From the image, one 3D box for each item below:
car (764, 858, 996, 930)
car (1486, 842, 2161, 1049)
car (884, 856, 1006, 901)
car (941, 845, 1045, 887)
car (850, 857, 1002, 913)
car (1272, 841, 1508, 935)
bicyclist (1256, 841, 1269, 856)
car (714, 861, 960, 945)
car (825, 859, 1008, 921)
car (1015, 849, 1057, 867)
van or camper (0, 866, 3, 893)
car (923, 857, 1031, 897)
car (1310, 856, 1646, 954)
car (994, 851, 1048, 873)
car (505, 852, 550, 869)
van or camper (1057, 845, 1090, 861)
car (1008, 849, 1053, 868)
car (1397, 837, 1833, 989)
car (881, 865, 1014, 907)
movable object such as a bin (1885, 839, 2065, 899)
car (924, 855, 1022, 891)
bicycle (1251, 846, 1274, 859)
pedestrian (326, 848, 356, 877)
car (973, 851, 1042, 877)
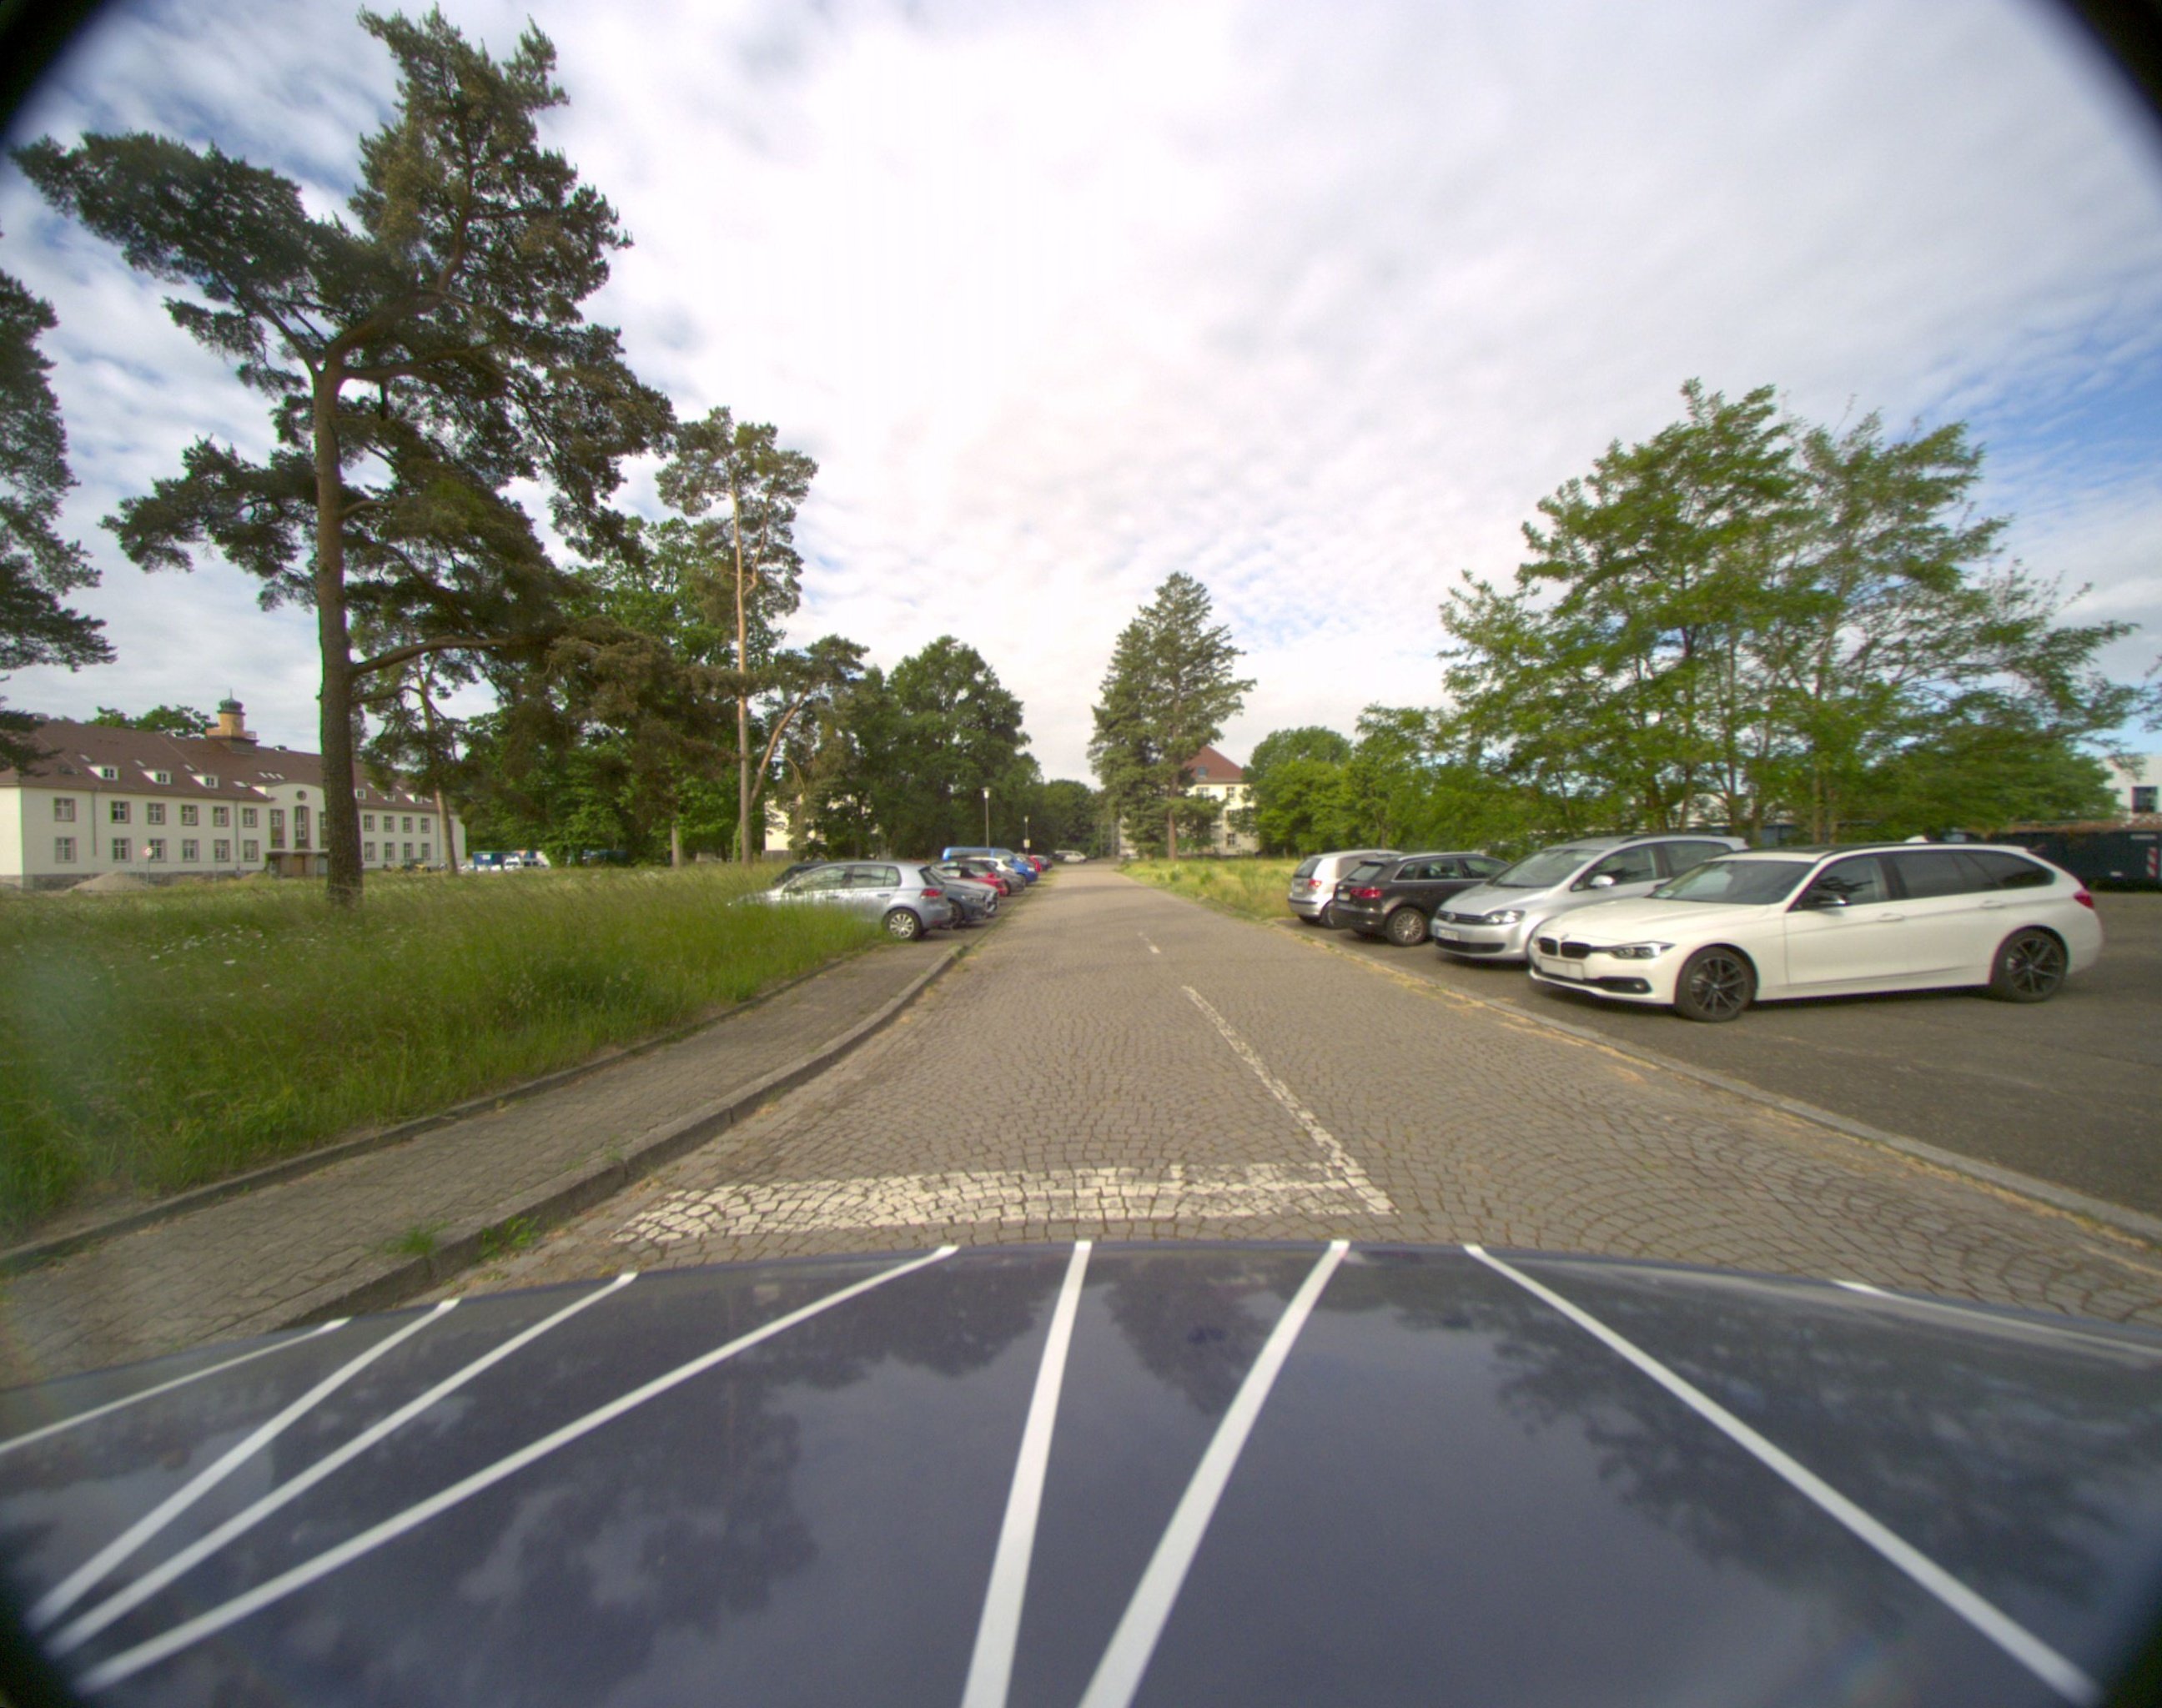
[{"bbox_3d":[-4.324,0.840,16.849,4.630,1.437,1.796,-1,1,0],"label":"car"},{"bbox_3d":[6.831,0.745,7.327,4.819,1.431,1.913,-3,1,-3],"label":"car"},{"bbox_3d":[-4.761,0.843,26.981,3.932,1.467,1.796,-1,1,1],"label":"car"},{"bbox_3d":[-4.324,0.562,37.955,4.839,2.002,2.000,-1,1,4],"label":"car"},{"bbox_3d":[-4.376,0.860,21.890,3.932,1.504,1.797,-1,1,2],"label":"car"},{"bbox_3d":[6.122,0.634,15.289,3.985,1.448,1.680,-5,1,-5],"label":"car"},{"bbox_3d":[22.567,-0.645,94.498,1.318,1.857,1.250,-1,1,5],"label":"bicyclist"},{"bbox_3d":[-4.437,0.876,14.256,3.997,1.410,1.796,-1,1,1],"label":"car"},{"bbox_3d":[-4.147,0.897,19.572,4.266,1.437,1.797,-1,1,2],"label":"car"},{"bbox_3d":[-4.274,0.339,71.972,3.791,1.615,2.000,-1,1,1],"label":"car"},{"bbox_3d":[-95.113,2.208,63.527,6.124,2.293,2.464,-1,1,-3],"label":"van or camper"},{"bbox_3d":[-4.005,0.873,29.677,3.933,1.427,1.796,-1,1,0],"label":"car"},{"bbox_3d":[6.419,0.787,12.628,4.633,1.414,1.884,-1,1,-3],"label":"car"},{"bbox_3d":[-4.469,0.564,57.183,3.998,1.560,1.999,-1,1,-3],"label":"car"},{"bbox_3d":[-68.499,0.744,94.118,2.166,2.002,4.833,-1,1,-2],"label":"car"},{"bbox_3d":[-1.236,-0.233,121.011,5.248,2.449,2.208,-1,1,-2],"label":"van or camper"},{"bbox_3d":[-4.456,0.393,67.491,3.791,1.560,2.000,-1,1,1],"label":"car"},{"bbox_3d":[6.768,0.677,9.935,4.486,1.580,1.846,-3,1,-4],"label":"car"},{"bbox_3d":[-4.211,1.011,24.404,3.932,1.227,1.796,-1,1,1],"label":"car"},{"bbox_3d":[19.344,0.301,16.499,2.537,1.205,1.170,-1,1,-1],"label":"movable object such as a bin"},{"bbox_3d":[-4.613,0.809,32.778,3.933,1.441,1.796,-1,1,0],"label":"car"},{"bbox_3d":[22.581,-0.185,94.461,2.673,1.496,1.273,-1,1,5],"label":"bicycle"},{"bbox_3d":[-54.751,0.609,56.225,1.184,2.165,1.056,-1,1,0],"label":"pedestrian"},{"bbox_3d":[-4.510,0.598,46.888,3.996,1.496,1.869,-1,1,2],"label":"car"}]
